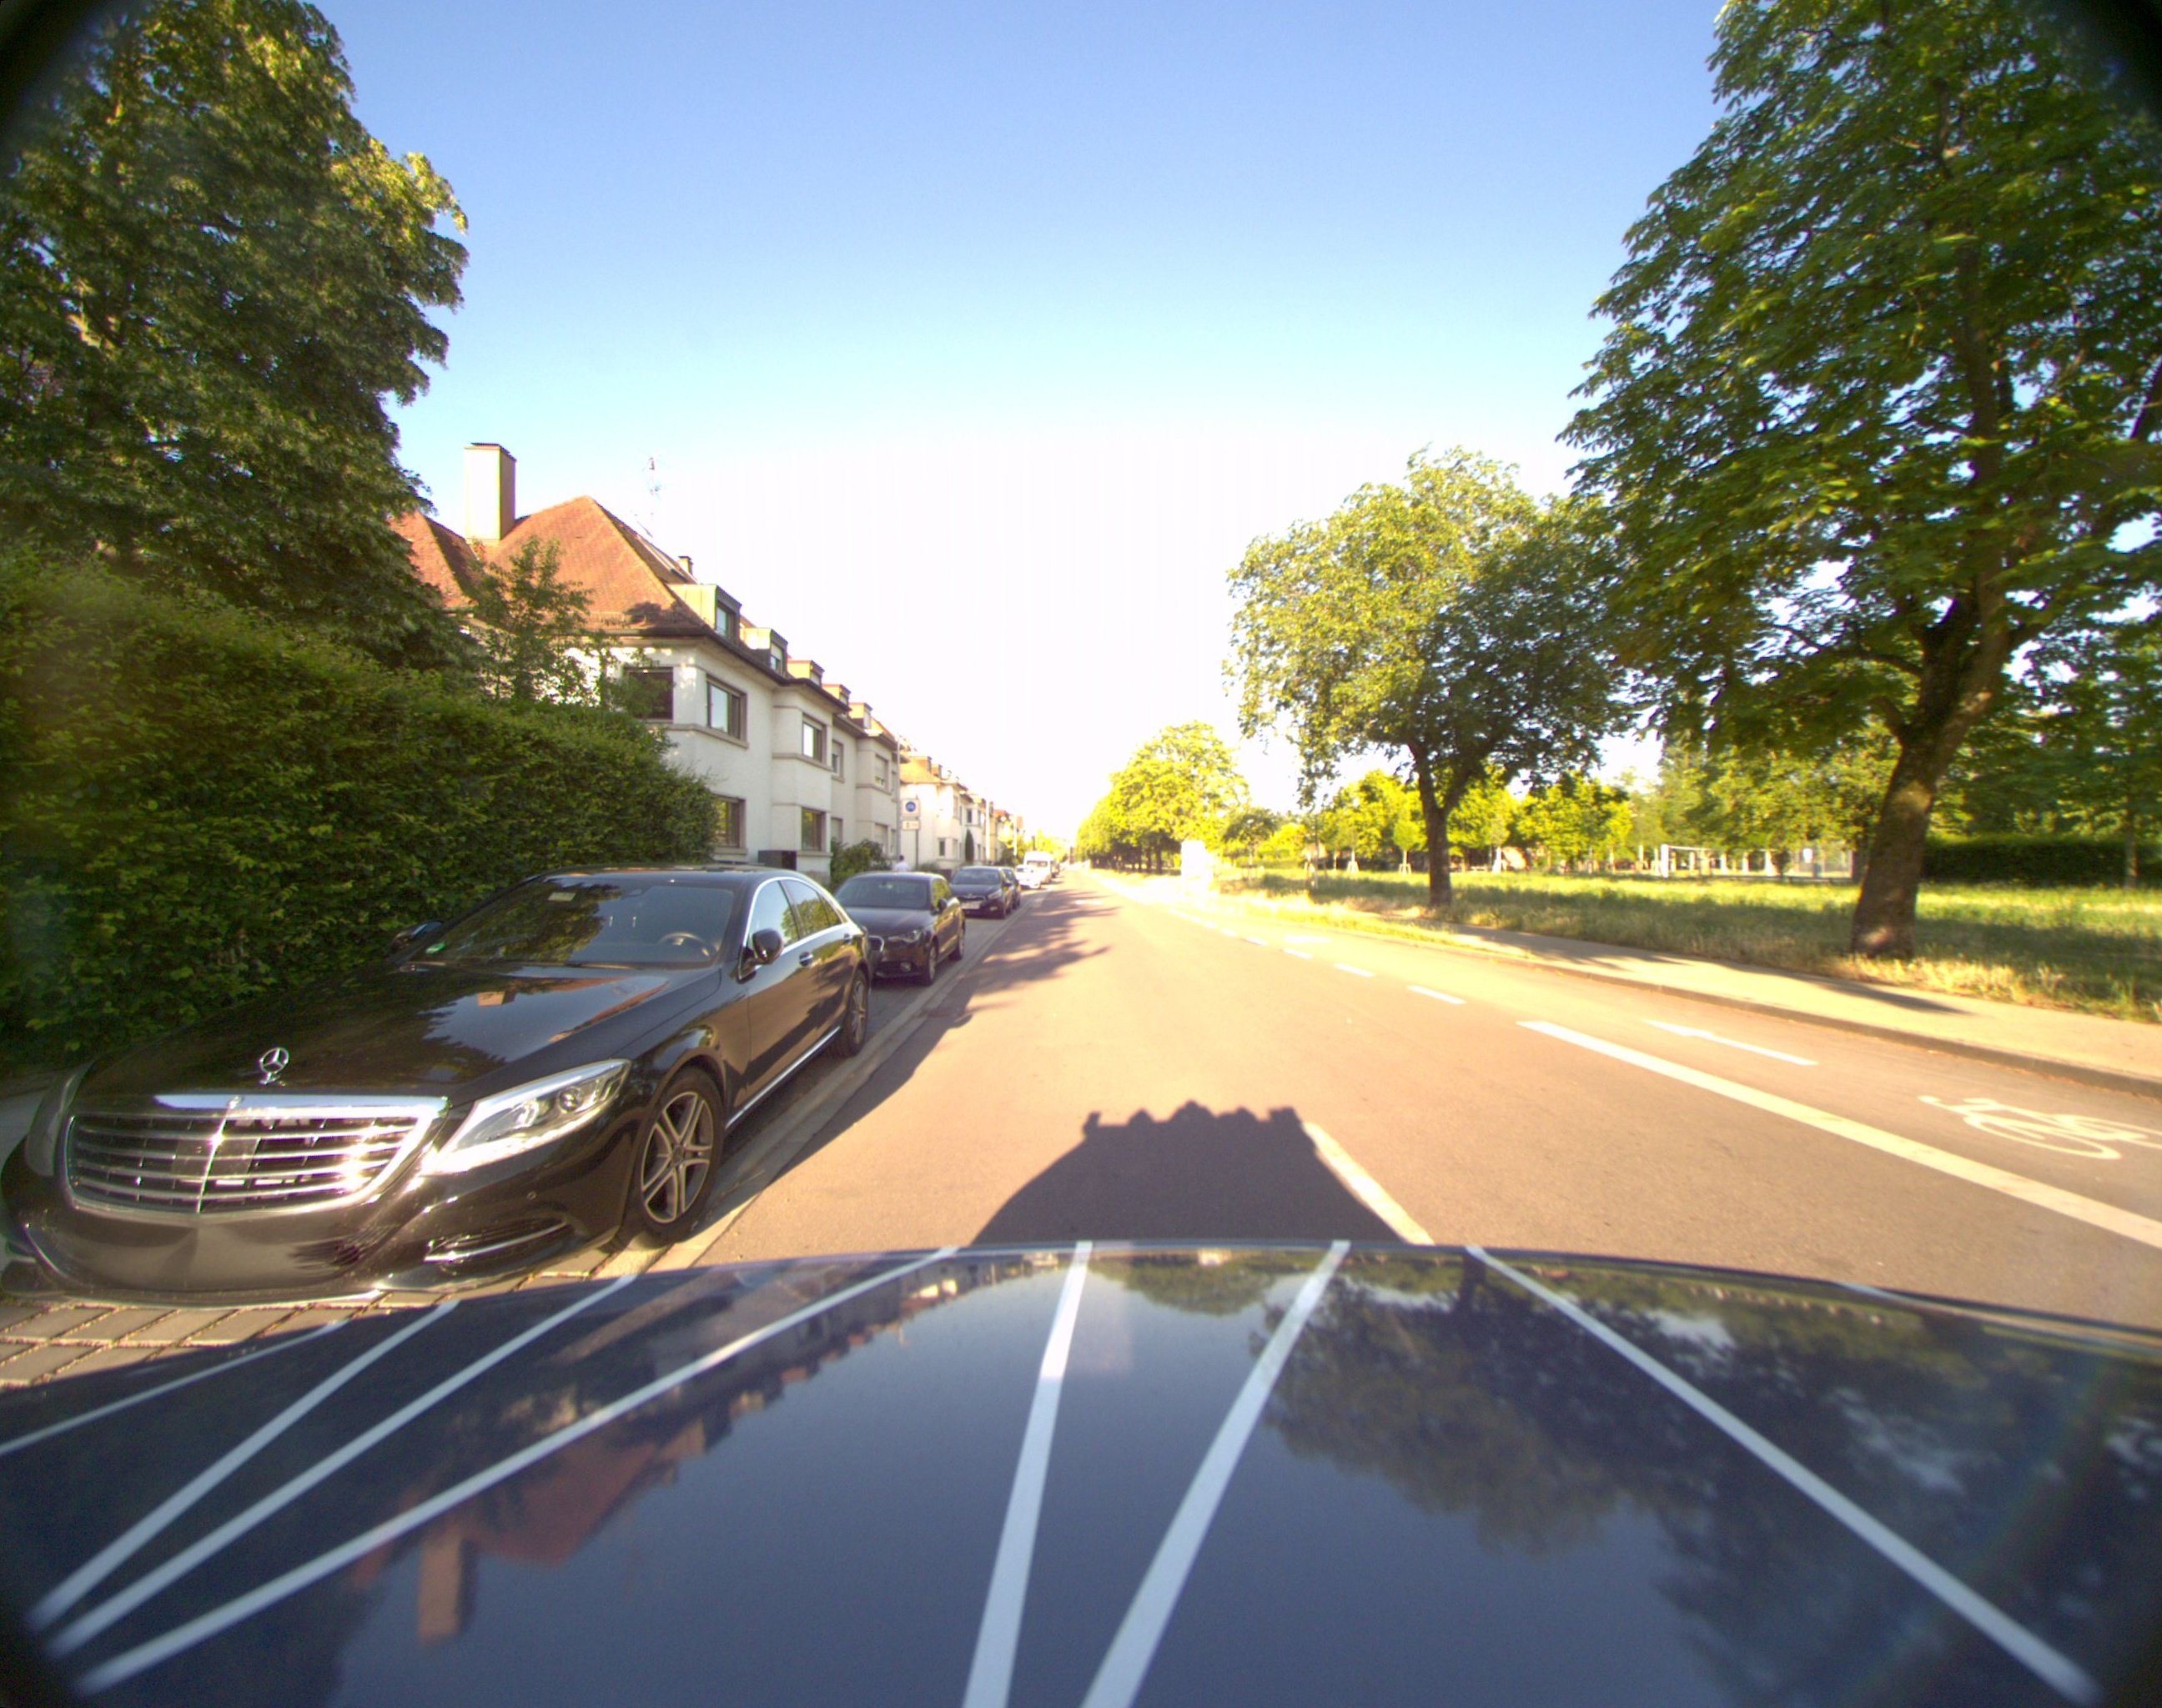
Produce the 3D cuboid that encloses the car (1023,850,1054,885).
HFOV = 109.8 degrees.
[{"bbox_3d":[-3.268,0.987,59.787,2.132,2.461,5.723,-2,1,-1],"label":"car"}]

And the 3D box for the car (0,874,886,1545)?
[{"bbox_3d":[-2.618,0.927,4.270,2.009,1.489,4.914,2,0,-3],"label":"car"}]

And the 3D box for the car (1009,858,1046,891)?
[{"bbox_3d":[-3.220,1.205,46.655,1.999,1.775,3.999,-2,1,-1],"label":"car"}]

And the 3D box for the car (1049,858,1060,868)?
[{"bbox_3d":[-4.079,1.397,117.186,1.682,1.543,3.842,1,0,-3],"label":"car"}]

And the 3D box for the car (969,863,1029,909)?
[{"bbox_3d":[-2.917,1.115,27.660,1.680,1.525,3.472,-2,-1,1],"label":"car"}]

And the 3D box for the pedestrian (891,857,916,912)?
[{"bbox_3d":[-6.058,1.026,25.939,0.587,1.835,0.823,-2,1,1],"label":"pedestrian"}]

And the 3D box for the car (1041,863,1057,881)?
[{"bbox_3d":[-3.714,2.078,88.952,1.708,1.848,3.712,-2,1,0],"label":"car"}]

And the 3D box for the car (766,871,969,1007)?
[{"bbox_3d":[-2.757,1.023,10.788,1.784,1.469,4.000,-2,-1,-1],"label":"car"}]

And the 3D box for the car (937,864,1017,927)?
[{"bbox_3d":[-2.899,1.113,22.029,1.796,1.586,4.077,-2,-1,-1],"label":"car"}]

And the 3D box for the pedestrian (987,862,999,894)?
[{"bbox_3d":[-4.935,1.330,42.613,0.531,1.787,0.589,-2,1,-2],"label":"pedestrian"}]
